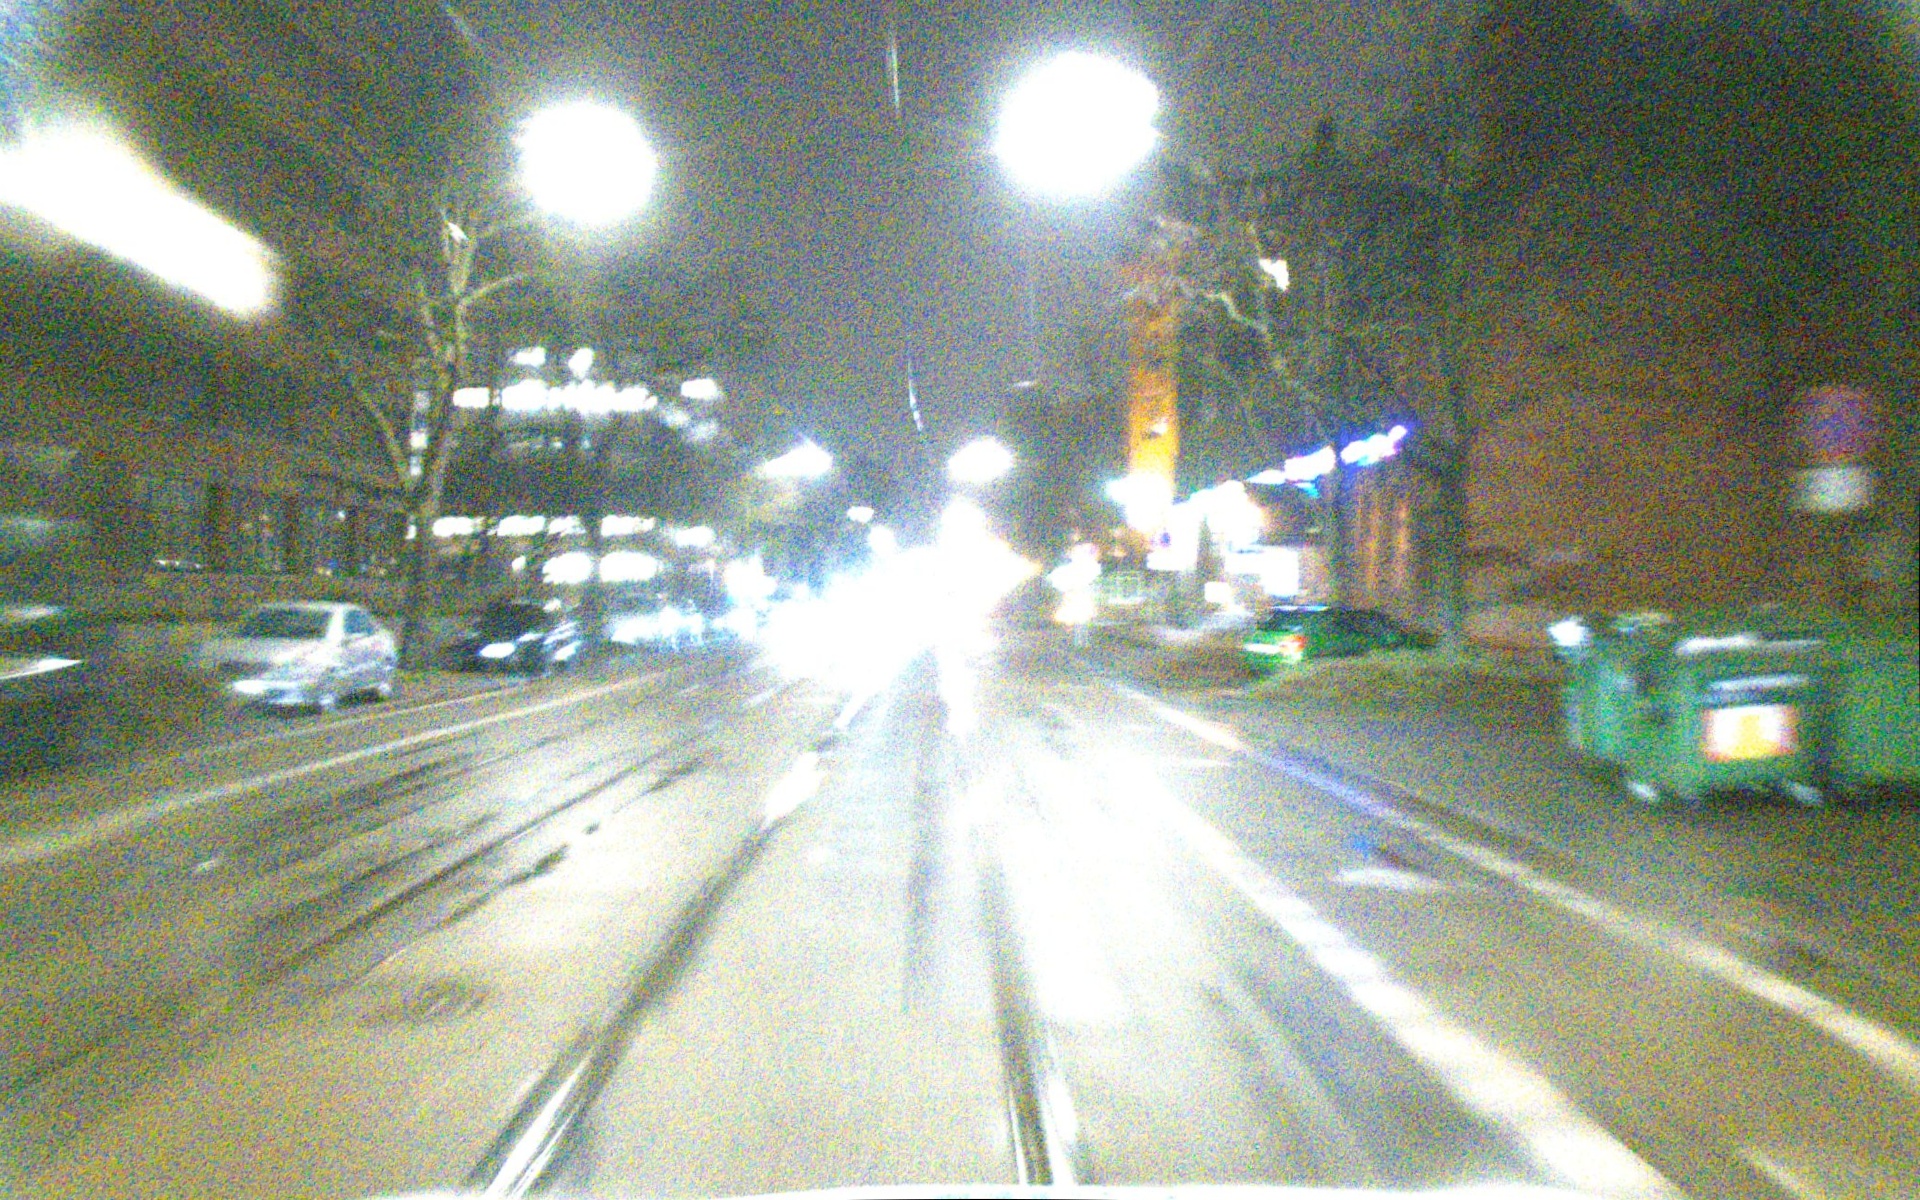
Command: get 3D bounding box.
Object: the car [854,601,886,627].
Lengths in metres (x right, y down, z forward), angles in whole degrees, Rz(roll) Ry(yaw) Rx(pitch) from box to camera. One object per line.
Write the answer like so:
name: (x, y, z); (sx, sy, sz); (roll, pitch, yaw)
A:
car: (-5.463, 0.836, 100.398); (1.740, 1.544, 4.050); (0, 1, -1)

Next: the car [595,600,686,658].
car: (-9.523, 0.820, 49.638); (1.943, 1.660, 4.516); (0, 0, -1)

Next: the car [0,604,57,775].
car: (-8.998, 0.775, 12.907); (1.803, 1.448, 4.206); (-1, 0, -4)

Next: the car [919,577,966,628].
car: (-0.878, 0.105, 80.615); (2.199, 2.402, 4.392); (0, 0, -2)

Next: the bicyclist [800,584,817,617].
bicyclist: (-8.008, 0.011, 87.454); (0.766, 1.684, 1.206); (-2, 0, -1)

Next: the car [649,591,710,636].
car: (-9.574, 0.426, 56.748); (1.657, 1.446, 3.911); (-1, 1, -4)

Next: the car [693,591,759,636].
car: (-9.528, 0.540, 67.624); (1.929, 1.684, 4.601); (2, 0, 0)

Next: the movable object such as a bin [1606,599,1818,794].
movable object such as a bin: (5.907, 0.733, 13.081); (1.183, 1.447, 1.101); (-2, 0, 4)

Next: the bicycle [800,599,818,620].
bicycle: (-7.989, 0.504, 87.449); (0.766, 1.101, 1.918); (-2, 0, -1)

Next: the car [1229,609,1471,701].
car: (7.124, 0.951, 30.218); (4.043, 1.564, 1.944); (0, 0, -27)

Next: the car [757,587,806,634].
car: (-10.666, 0.576, 99.175); (2.140, 2.637, 6.393); (0, 1, 1)

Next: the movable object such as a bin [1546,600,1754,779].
movable object such as a bin: (5.893, 0.743, 14.219); (1.339, 1.447, 1.073); (-2, 0, 4)

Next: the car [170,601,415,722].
car: (-9.311, 0.784, 23.531); (1.851, 1.488, 4.954); (-1, 0, -5)

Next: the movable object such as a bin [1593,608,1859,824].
movable object such as a bin: (5.476, 0.793, 11.909); (1.296, 1.433, 1.158); (-2, 0, -6)

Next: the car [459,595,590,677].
car: (-9.314, 0.729, 35.693); (1.843, 1.572, 4.396); (3, 0, -4)
